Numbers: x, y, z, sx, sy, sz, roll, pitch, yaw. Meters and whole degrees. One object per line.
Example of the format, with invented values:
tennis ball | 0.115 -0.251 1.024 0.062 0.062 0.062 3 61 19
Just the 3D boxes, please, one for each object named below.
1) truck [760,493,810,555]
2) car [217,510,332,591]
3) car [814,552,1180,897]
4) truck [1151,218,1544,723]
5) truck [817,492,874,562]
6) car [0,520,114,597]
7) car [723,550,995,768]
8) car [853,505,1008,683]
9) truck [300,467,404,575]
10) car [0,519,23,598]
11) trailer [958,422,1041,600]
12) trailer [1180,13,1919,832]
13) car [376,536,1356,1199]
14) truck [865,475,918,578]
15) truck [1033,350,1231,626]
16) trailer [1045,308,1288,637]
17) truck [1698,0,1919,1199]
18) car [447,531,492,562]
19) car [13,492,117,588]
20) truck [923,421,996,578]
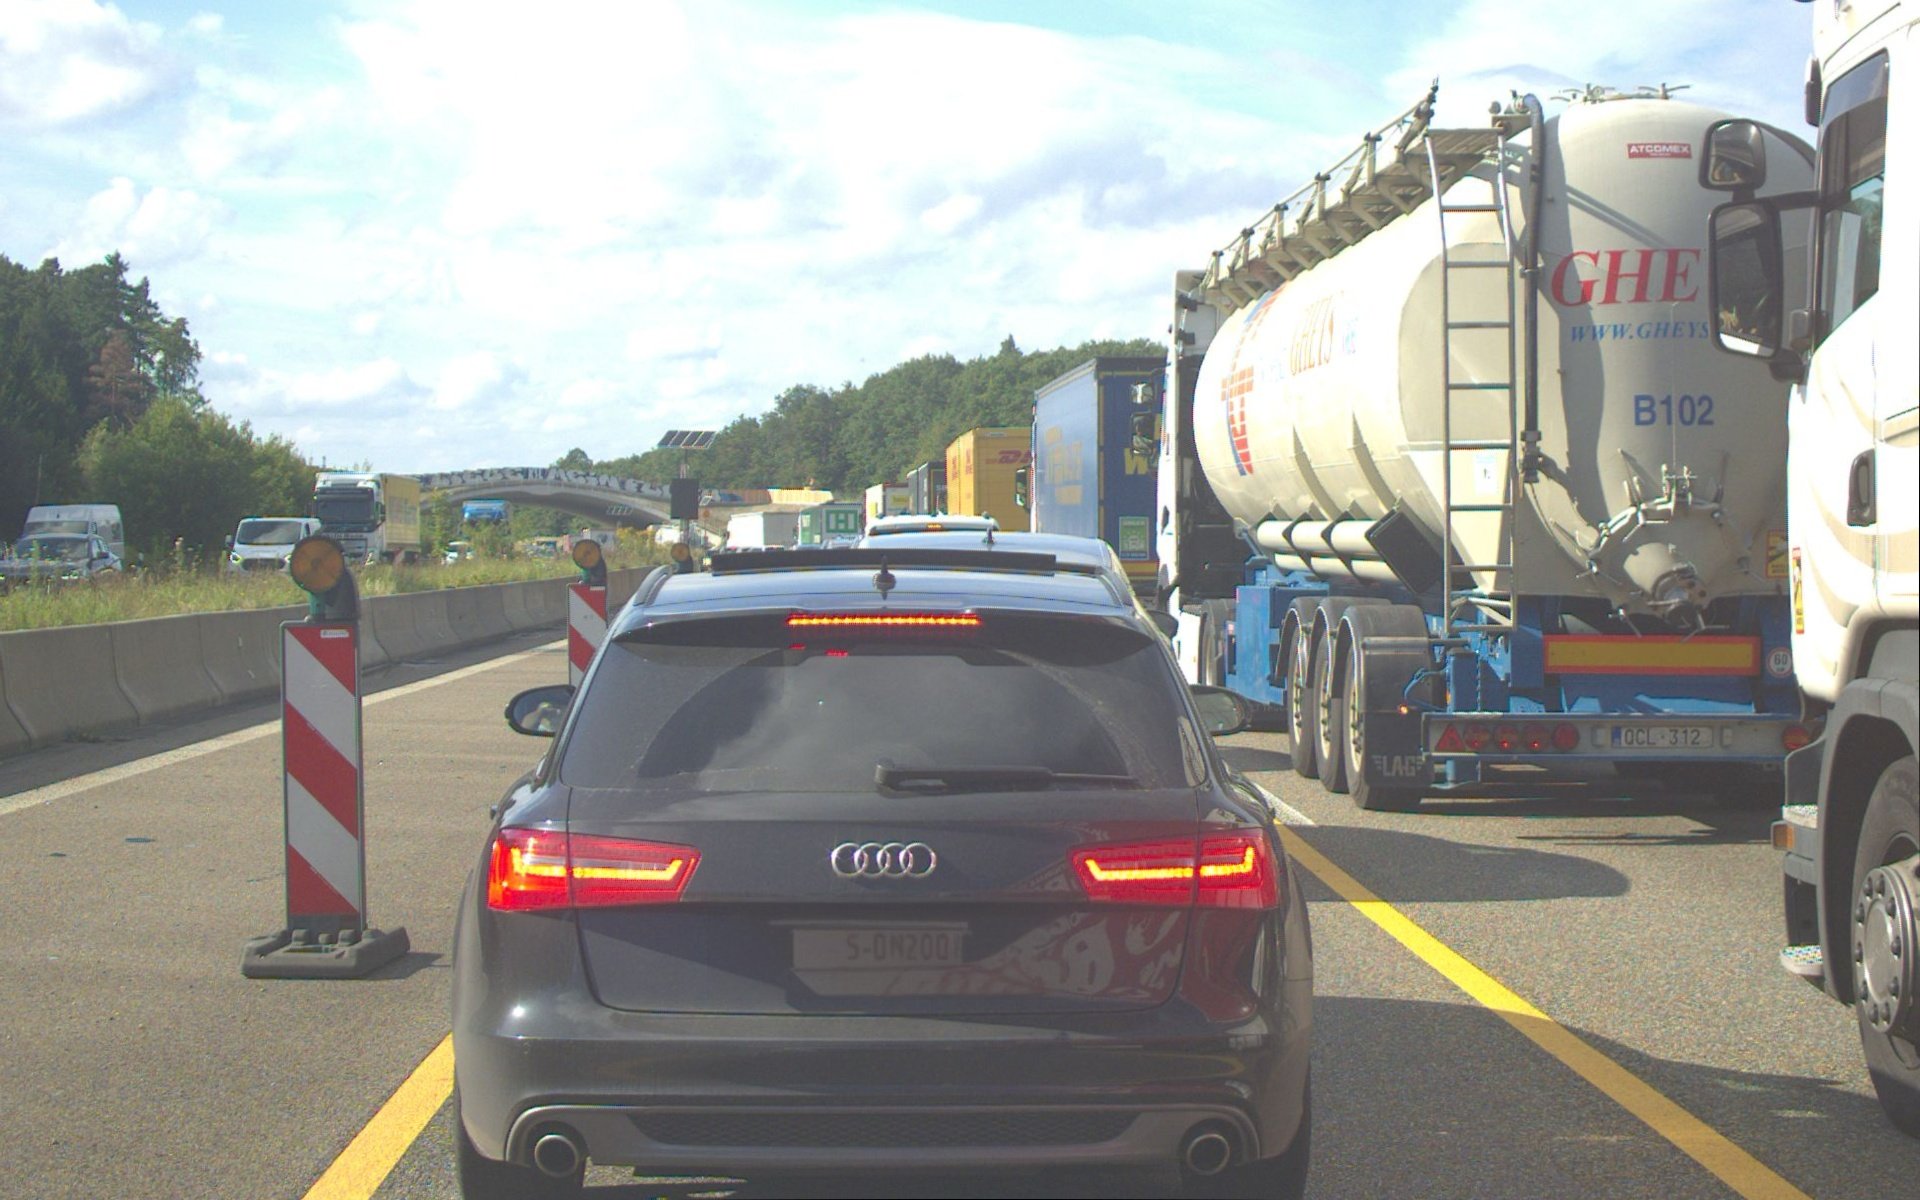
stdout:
truck | -12.236 -5.293 239.507 3.303 4.160 9.704 1 1 -4
car | -17.554 -1.257 88.241 1.993 2.007 4.832 1 1 -1
car | 0.138 0.509 16.148 1.524 1.434 3.285 1 1 -1
truck | 3.239 -1.056 30.190 2.659 3.958 5.779 1 0 -1
truck | -6.980 -4.381 207.918 3.304 4.160 9.703 0 1 -2
car | -17.028 -0.769 63.099 1.958 1.358 4.288 1 1 0
car | -0.677 0.365 24.220 1.751 1.392 3.608 1 1 -1
car | -0.325 -0.077 37.481 1.581 1.830 3.112 1 1 -1
truck | -22.672 -2.908 128.513 2.826 3.895 5.949 1 0 -1
car | -25.484 -1.070 87.843 1.993 2.007 4.000 1 1 -1
trailer | 0.874 -1.991 79.122 1.616 3.905 6.490 1 1 -1
trailer | 3.316 -0.959 23.008 2.644 3.929 12.598 1 1 -1
car | -0.200 0.594 8.513 1.848 1.458 4.000 0 1 -1
truck | -2.900 -3.070 146.286 2.137 4.243 7.072 1 1 -1
truck | 2.825 -1.818 58.631 2.806 4.354 7.792 1 1 -1
trailer | 2.924 -1.775 51.731 2.805 4.398 10.433 1 1 -1
truck | 3.545 -0.468 6.961 2.667 3.946 5.711 1 1 -1
car | -25.336 -2.773 177.659 1.787 1.555 4.000 1 1 -1
car | -25.400 -1.686 97.698 2.250 2.634 5.021 1 1 -8
truck | -0.067 -3.253 112.771 1.993 4.897 9.563 1 1 -2
